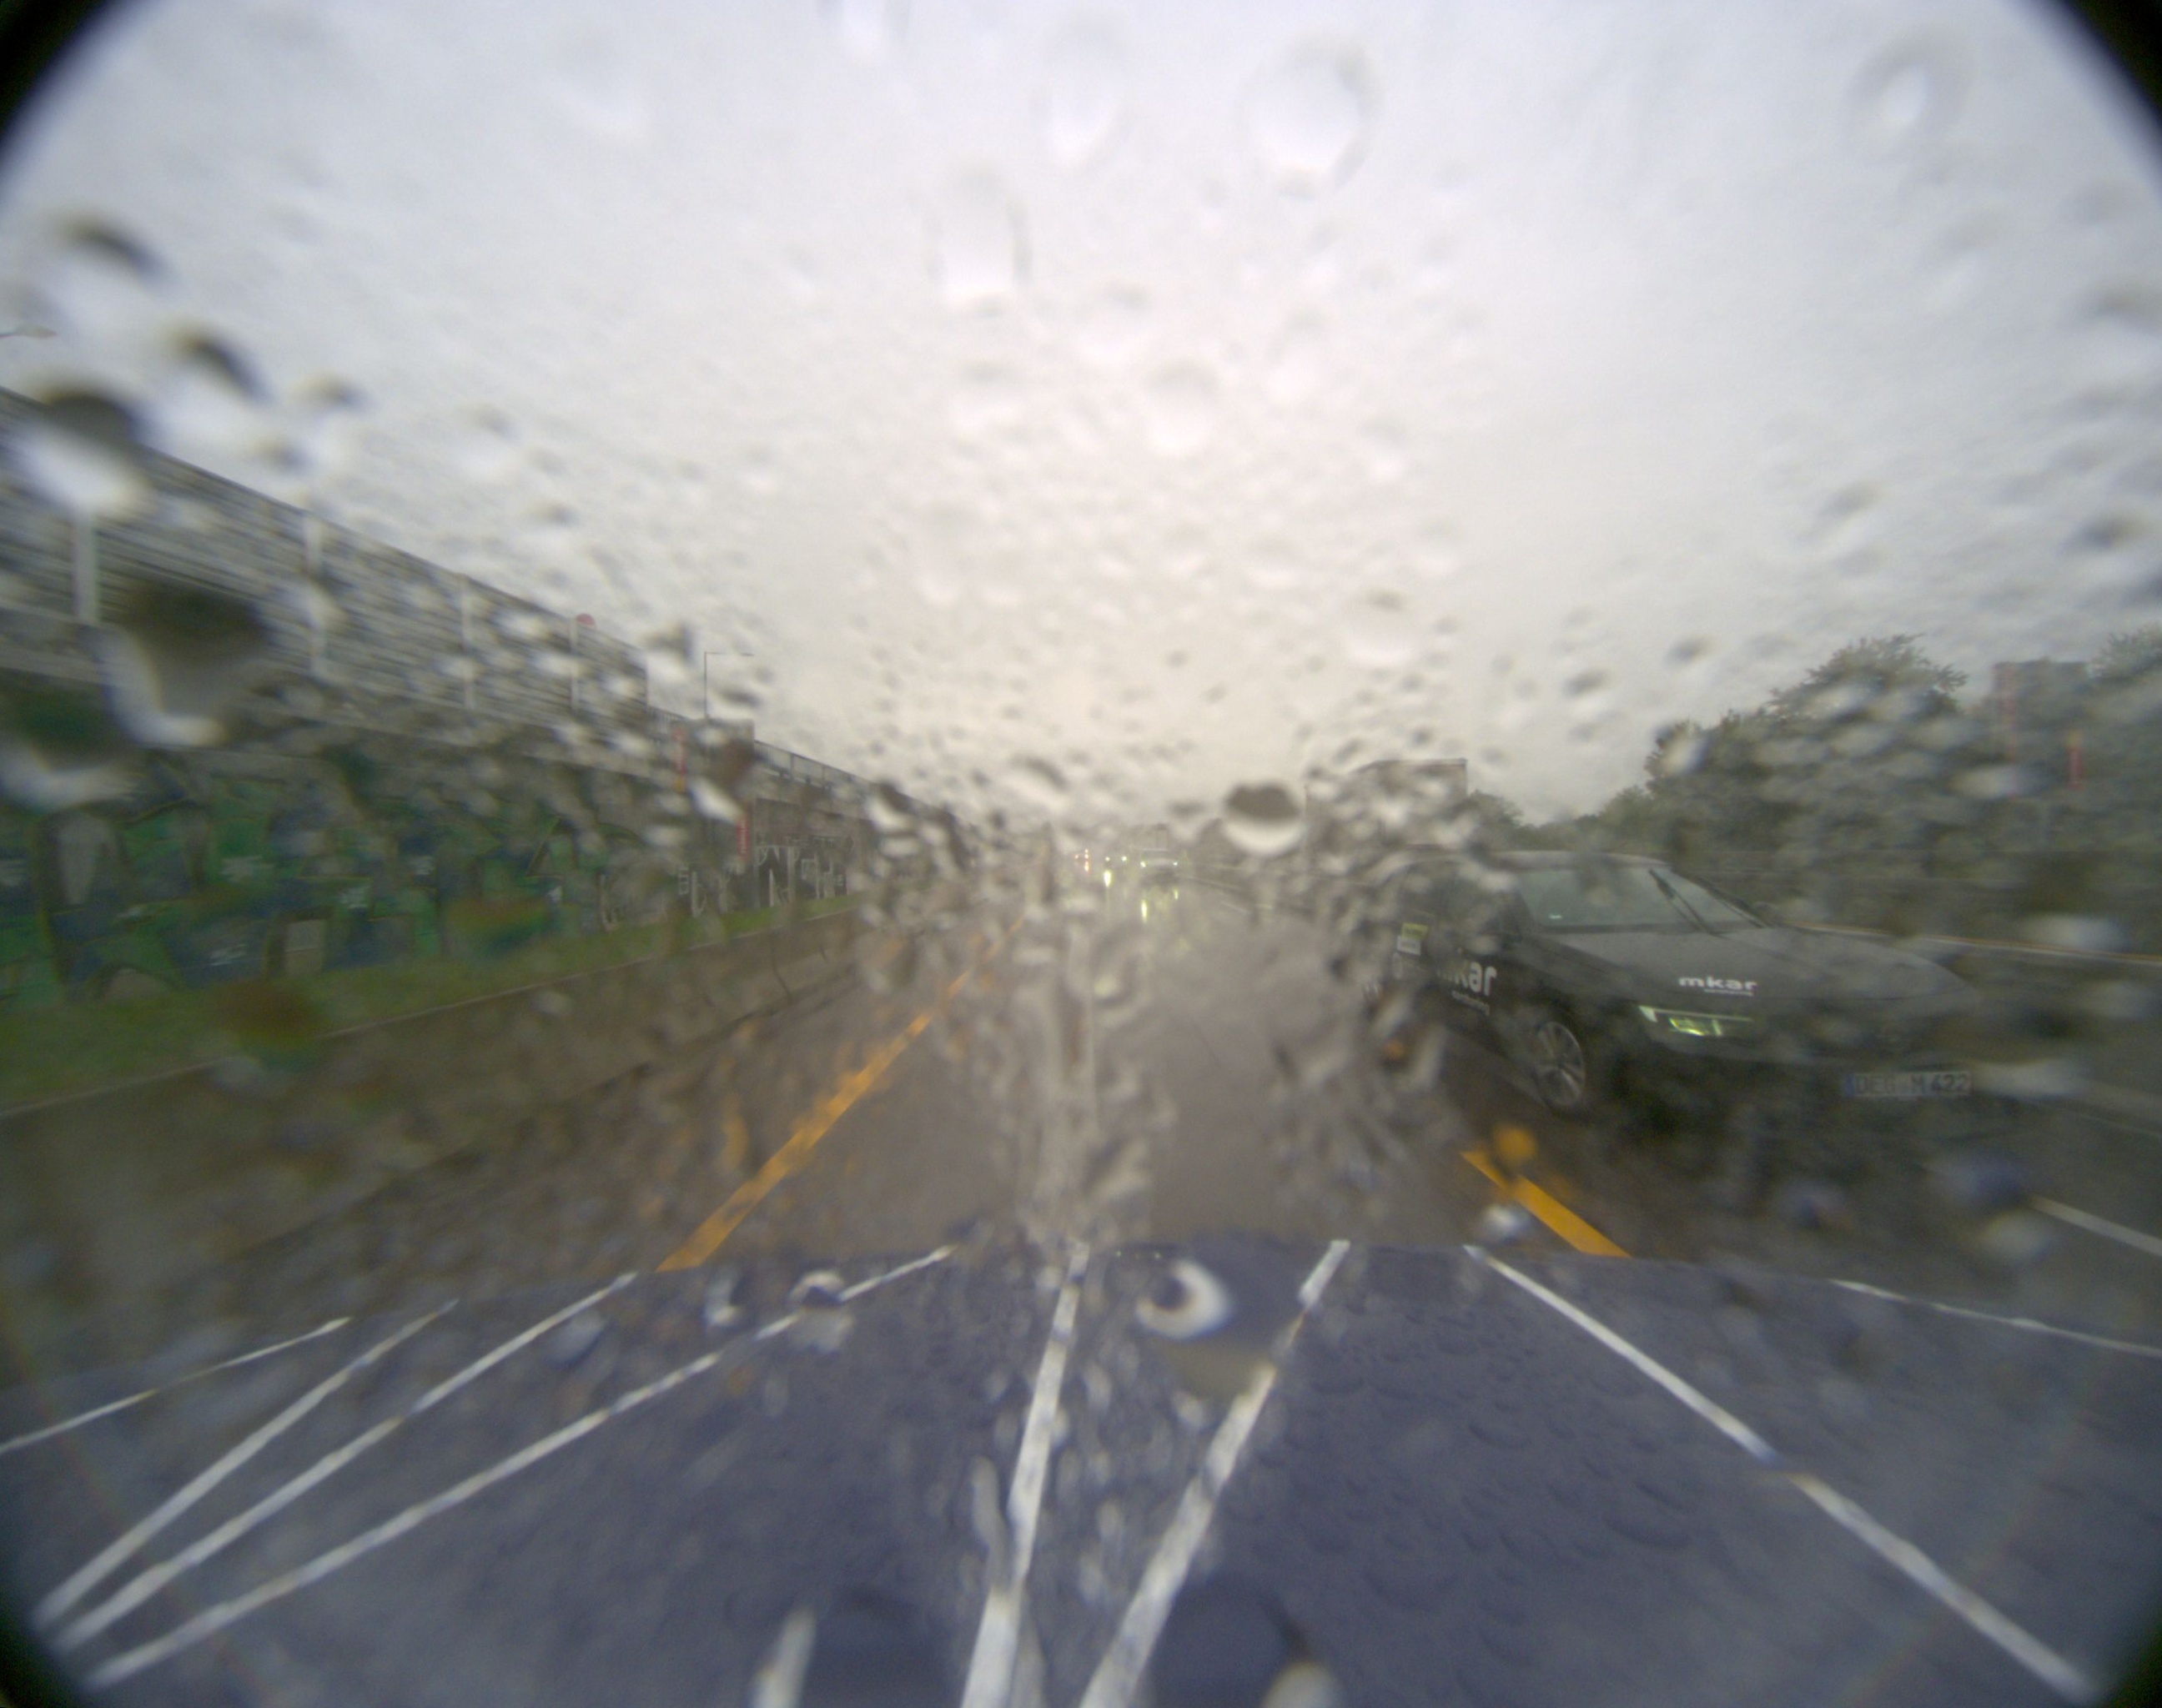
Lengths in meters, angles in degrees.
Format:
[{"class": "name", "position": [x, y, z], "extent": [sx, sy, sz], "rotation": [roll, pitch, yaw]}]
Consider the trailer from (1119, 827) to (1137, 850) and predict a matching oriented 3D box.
[{"class": "trailer", "position": [9.237, -3.122, 150.083], "extent": [2.491, 4.418, 11.191], "rotation": [-2, 2, -1]}]

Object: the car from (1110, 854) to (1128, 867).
[{"class": "car", "position": [3.317, 0.568, 65.994], "extent": [1.335, 1.105, 3.198], "rotation": [1, 0, -1]}]

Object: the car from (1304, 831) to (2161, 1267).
[{"class": "car", "position": [3.273, 0.656, 5.226], "extent": [1.944, 1.519, 4.792], "rotation": [-1, 3, -2]}]

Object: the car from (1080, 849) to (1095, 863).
[{"class": "car", "position": [0.884, 0.238, 108.279], "extent": [1.999, 1.762, 3.998], "rotation": [-2, 2, -1]}]

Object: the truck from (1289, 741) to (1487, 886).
[{"class": "truck", "position": [10.131, -1.286, 26.684], "extent": [3.012, 4.143, 9.828], "rotation": [0, 2, 0]}]

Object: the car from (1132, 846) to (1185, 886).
[{"class": "car", "position": [3.588, 0.533, 35.889], "extent": [1.972, 1.671, 3.998], "rotation": [-2, 2, -2]}]

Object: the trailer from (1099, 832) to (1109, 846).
[{"class": "trailer", "position": [7.122, -4.701, 236.451], "extent": [2.657, 4.086, 12.309], "rotation": [-2, 2, -1]}]

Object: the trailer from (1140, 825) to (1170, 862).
[{"class": "trailer", "position": [9.639, -1.438, 100.152], "extent": [2.554, 4.563, 12.005], "rotation": [-2, 2, 0]}]
